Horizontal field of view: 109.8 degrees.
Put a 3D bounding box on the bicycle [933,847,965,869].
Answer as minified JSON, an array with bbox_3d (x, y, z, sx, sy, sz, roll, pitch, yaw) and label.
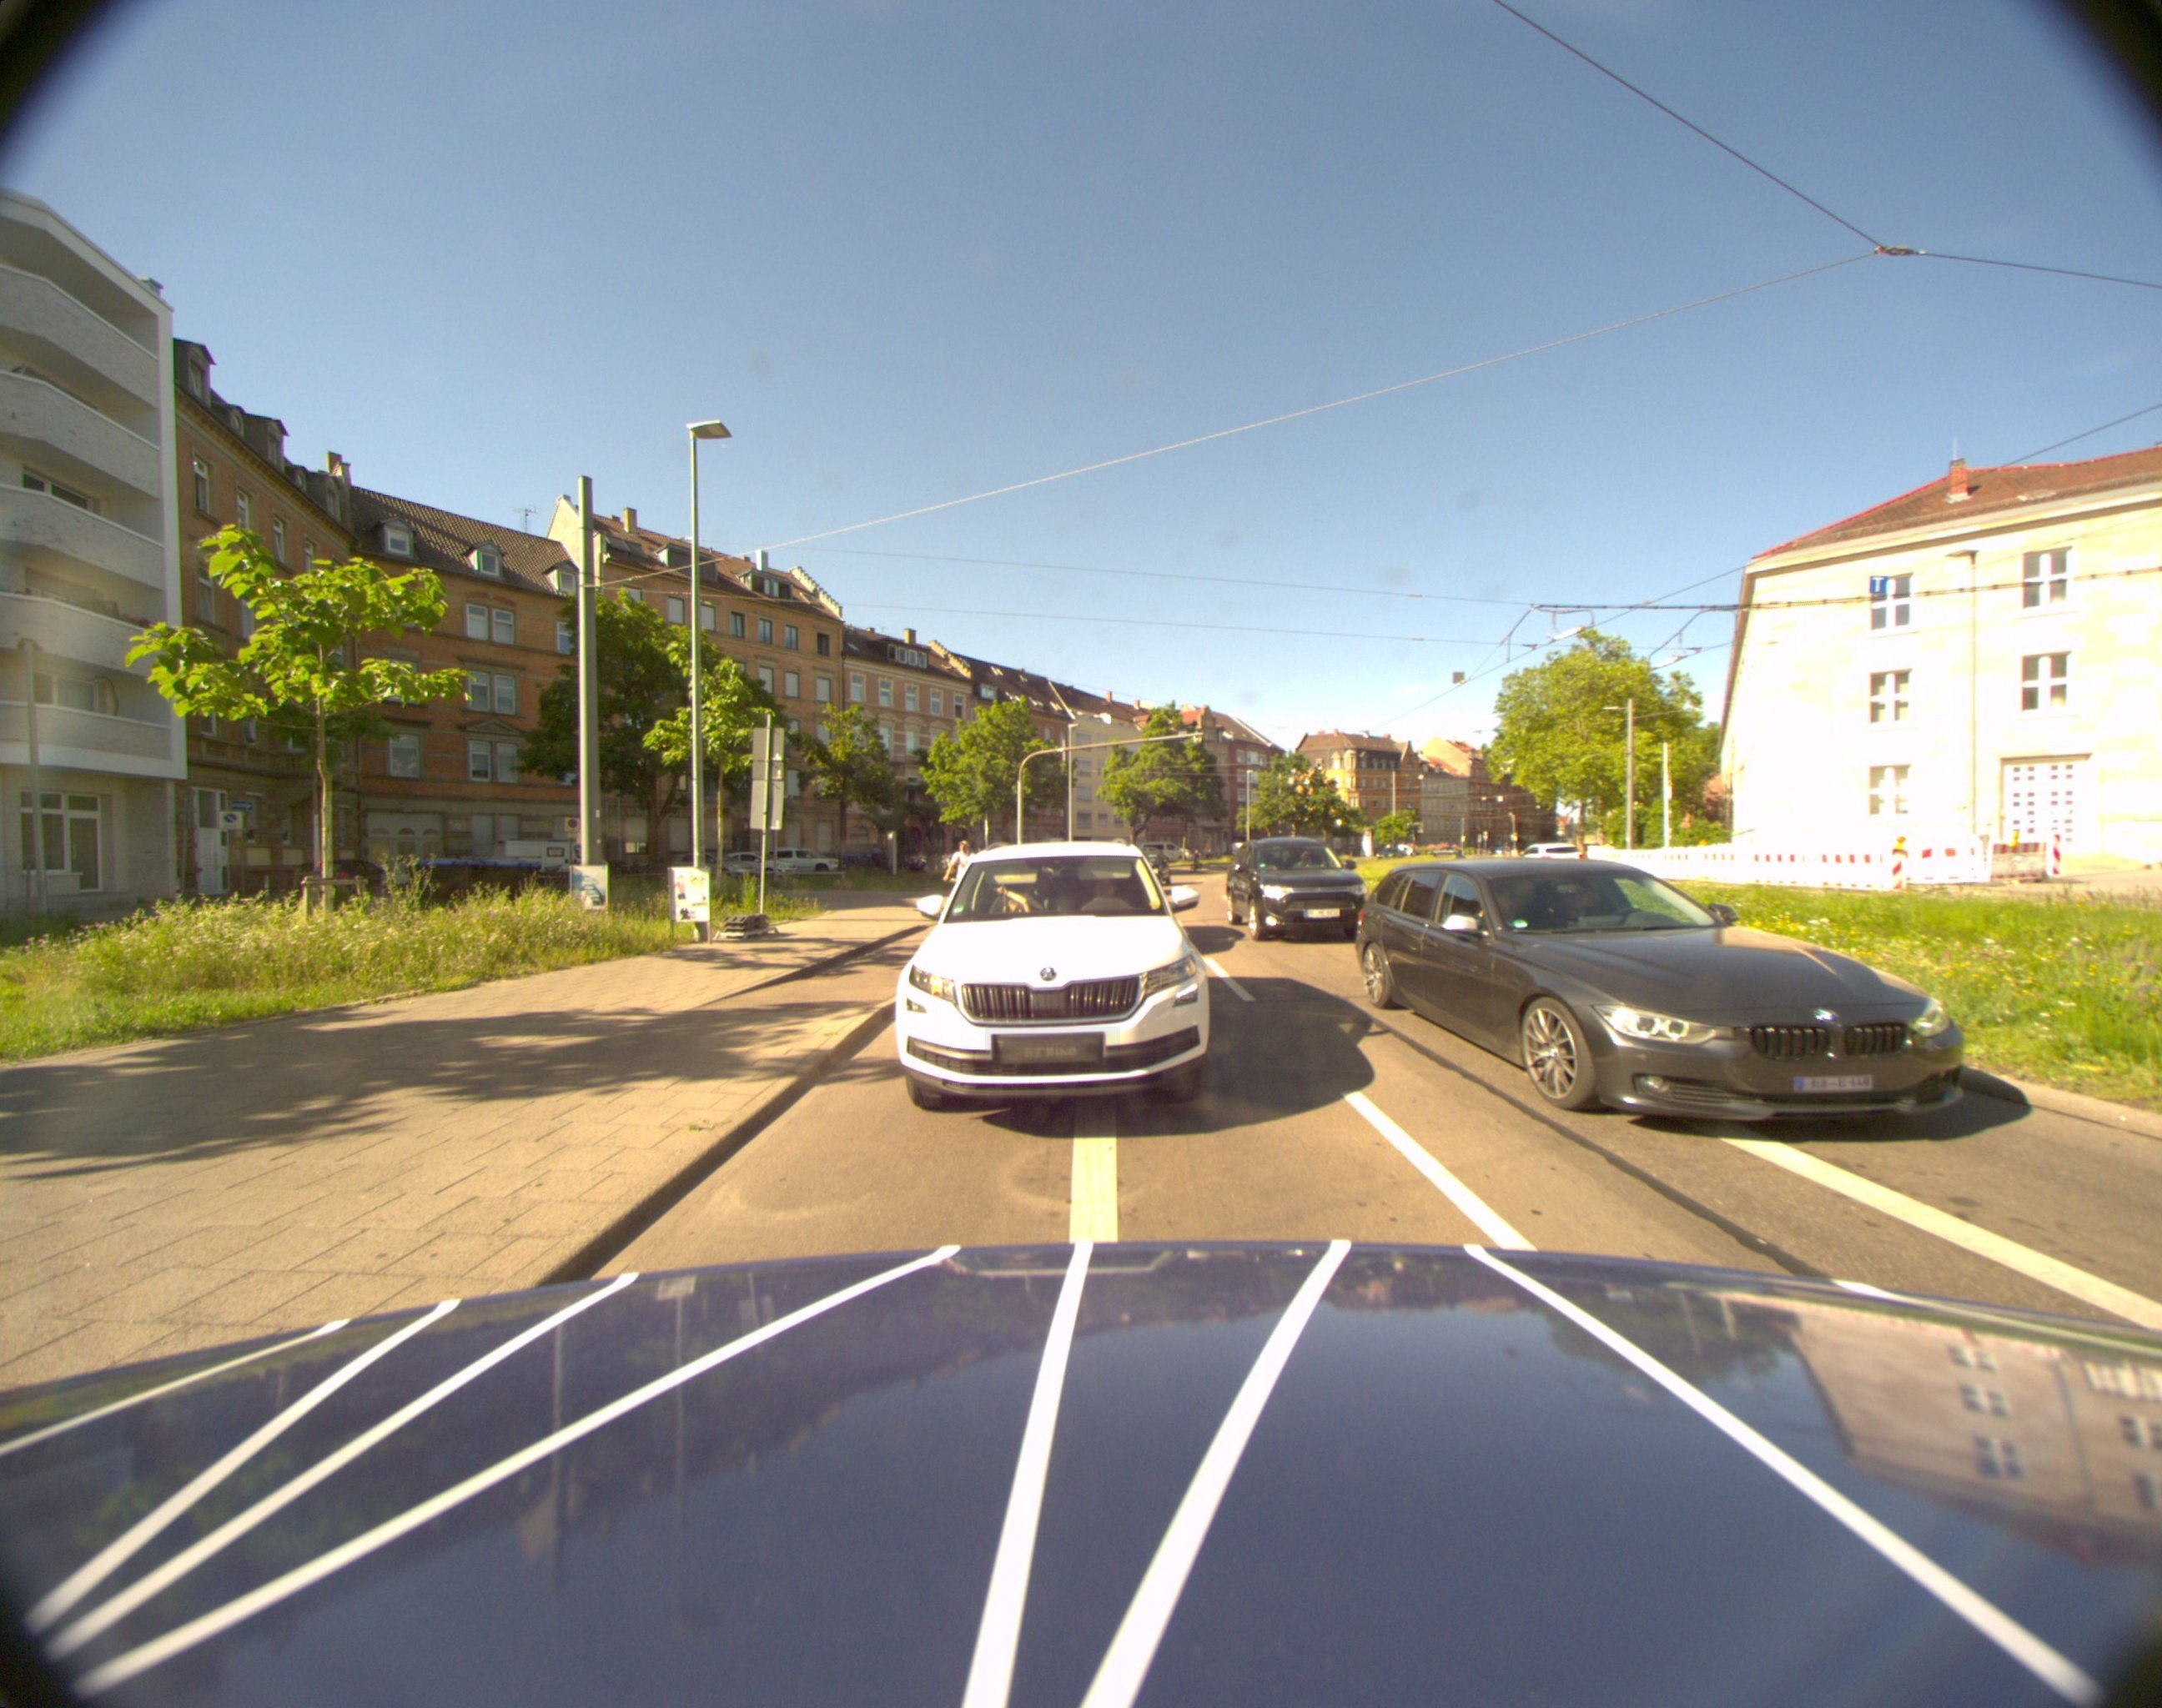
[{"bbox_3d":[-7.724,0.242,44.518,0.664,1.260,2.198,-3,1,-45],"label":"bicycle"}]

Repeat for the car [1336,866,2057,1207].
[{"bbox_3d":[3.482,0.850,5.594,1.741,1.359,4.426,-2,0,1],"label":"car"}]

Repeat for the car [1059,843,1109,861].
[{"bbox_3d":[0.265,-0.158,61.165,3.823,1.398,1.600,0,1,6],"label":"car"}]

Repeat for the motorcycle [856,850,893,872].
[{"bbox_3d":[-12.598,0.403,46.404,2.199,1.260,0.664,-2,1,24],"label":"motorcycle"}]

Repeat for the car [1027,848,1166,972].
[{"bbox_3d":[0.239,0.763,12.608,1.842,1.636,4.397,-2,0,1],"label":"car"}]

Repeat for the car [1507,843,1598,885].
[{"bbox_3d":[19.836,0.389,32.170,1.823,1.636,4.185,-1,0,10],"label":"car"}]

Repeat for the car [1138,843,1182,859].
[{"bbox_3d":[7.131,-0.247,68.179,3.823,1.372,1.600,0,1,9],"label":"car"}]

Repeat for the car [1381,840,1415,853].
[{"bbox_3d":[49.460,-1.220,118.510,4.578,1.864,2.004,-2,1,33],"label":"car"}]

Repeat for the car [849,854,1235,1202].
[{"bbox_3d":[-0.224,0.855,5.950,1.842,1.636,4.397,-2,0,-1],"label":"car"}]

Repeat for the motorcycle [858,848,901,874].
[{"bbox_3d":[-11.174,0.376,42.207,2.200,1.322,0.663,-2,1,13],"label":"motorcycle"}]

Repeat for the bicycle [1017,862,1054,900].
[{"bbox_3d":[-1.539,0.898,25.981,0.637,1.190,2.156,-1,1,13],"label":"bicycle"}]

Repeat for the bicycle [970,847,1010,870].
[{"bbox_3d":[-5.471,0.269,45.739,2.207,1.260,0.662,-3,1,-25],"label":"bicycle"}]

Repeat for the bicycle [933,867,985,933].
[{"bbox_3d":[-2.637,0.961,16.595,0.716,1.319,1.749,1,0,4],"label":"bicycle"}]

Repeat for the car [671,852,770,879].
[{"bbox_3d":[-17.495,0.536,36.907,4.156,1.244,1.683,0,1,13],"label":"car"}]

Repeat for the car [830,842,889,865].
[{"bbox_3d":[-15.606,-0.054,53.671,1.547,1.578,3.709,1,2,41],"label":"car"}]

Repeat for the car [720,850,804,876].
[{"bbox_3d":[-16.402,0.442,39.106,3.696,1.244,1.683,0,1,13],"label":"car"}]

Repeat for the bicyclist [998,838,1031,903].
[{"bbox_3d":[-1.939,0.469,22.356,0.809,1.855,0.749,-1,2,6],"label":"bicyclist"}]

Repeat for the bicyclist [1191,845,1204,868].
[{"bbox_3d":[8.479,0.186,55.253,0.734,1.685,0.973,0,1,22],"label":"bicyclist"}]

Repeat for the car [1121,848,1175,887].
[{"bbox_3d":[3.128,0.558,34.866,1.837,1.637,4.152,0,1,14],"label":"car"}]

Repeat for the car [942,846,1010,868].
[{"bbox_3d":[-7.038,0.177,51.295,4.322,1.398,1.682,0,1,3],"label":"car"}]

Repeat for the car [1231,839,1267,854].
[{"bbox_3d":[18.699,-0.820,84.659,3.823,1.581,1.600,0,1,6],"label":"car"}]

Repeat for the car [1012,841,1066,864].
[{"bbox_3d":[-3.103,-0.135,56.104,3.825,1.698,1.682,0,1,3],"label":"car"}]

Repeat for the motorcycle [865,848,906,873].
[{"bbox_3d":[-11.144,0.359,43.294,2.200,1.315,0.664,-2,1,18],"label":"motorcycle"}]

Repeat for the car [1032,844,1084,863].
[{"bbox_3d":[-1.771,-0.052,58.712,3.823,1.398,1.600,0,1,6],"label":"car"}]

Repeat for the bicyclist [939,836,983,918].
[{"bbox_3d":[-2.621,0.485,16.651,0.716,1.715,1.094,1,1,3],"label":"bicyclist"}]

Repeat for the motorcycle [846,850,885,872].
[{"bbox_3d":[-12.936,0.417,45.625,2.314,1.276,0.664,-2,1,24],"label":"motorcycle"}]

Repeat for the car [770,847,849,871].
[{"bbox_3d":[-14.676,0.258,41.195,3.700,1.244,1.540,0,1,2],"label":"car"}]

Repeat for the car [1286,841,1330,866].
[{"bbox_3d":[19.826,-0.118,66.101,1.977,2.074,4.723,1,2,40],"label":"car"}]

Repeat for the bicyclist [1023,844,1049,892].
[{"bbox_3d":[-1.530,0.461,26.030,0.630,1.619,0.972,-1,1,13],"label":"bicyclist"}]

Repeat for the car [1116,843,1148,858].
[{"bbox_3d":[5.473,-0.421,80.728,1.547,1.578,3.607,1,2,41],"label":"car"}]

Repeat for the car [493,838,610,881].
[{"bbox_3d":[-27.113,0.219,39.010,2.047,2.026,4.510,1,2,41],"label":"car"}]

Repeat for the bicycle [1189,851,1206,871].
[{"bbox_3d":[8.499,0.504,55.352,0.735,1.353,2.078,0,1,21],"label":"bicycle"}]

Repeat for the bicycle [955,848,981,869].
[{"bbox_3d":[-7.118,0.310,47.754,0.664,1.260,2.199,-3,1,-36],"label":"bicycle"}]

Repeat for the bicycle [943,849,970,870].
[{"bbox_3d":[-7.681,0.343,46.760,0.664,1.260,2.199,-3,1,-36],"label":"bicycle"}]

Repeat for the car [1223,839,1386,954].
[{"bbox_3d":[3.701,0.627,13.398,1.841,1.636,4.399,-2,0,5],"label":"car"}]

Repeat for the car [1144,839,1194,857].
[{"bbox_3d":[8.202,-0.587,70.609,4.578,1.658,1.600,0,1,7],"label":"car"}]

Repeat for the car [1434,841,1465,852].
[{"bbox_3d":[56.473,-1.221,116.409,4.058,1.647,1.770,1,2,34],"label":"car"}]

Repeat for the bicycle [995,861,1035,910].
[{"bbox_3d":[-1.934,0.900,22.455,0.758,1.293,2.155,-1,1,6],"label":"bicycle"}]

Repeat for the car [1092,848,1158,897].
[{"bbox_3d":[1.648,0.600,26.957,1.838,1.543,4.151,0,1,10],"label":"car"}]

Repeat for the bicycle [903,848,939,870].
[{"bbox_3d":[-9.702,0.297,46.009,2.198,1.260,0.664,-2,1,32],"label":"bicycle"}]

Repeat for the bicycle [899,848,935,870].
[{"bbox_3d":[-9.738,0.308,45.070,2.198,1.260,0.664,-2,1,30],"label":"bicycle"}]

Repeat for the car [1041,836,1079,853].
[{"bbox_3d":[-1.935,-0.940,71.665,1.547,1.578,3.607,1,2,41],"label":"car"}]

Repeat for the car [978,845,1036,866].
[{"bbox_3d":[-5.222,0.089,53.965,3.822,1.398,1.683,0,1,9],"label":"car"}]

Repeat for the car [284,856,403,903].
[{"bbox_3d":[-26.164,0.831,27.148,1.835,1.419,4.378,-1,1,-27],"label":"car"}]

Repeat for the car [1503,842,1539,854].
[{"bbox_3d":[61.083,-0.843,105.546,4.058,1.647,1.770,1,2,43],"label":"car"}]

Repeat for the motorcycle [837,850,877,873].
[{"bbox_3d":[-13.285,0.440,45.019,2.314,1.270,0.664,-2,1,24],"label":"motorcycle"}]

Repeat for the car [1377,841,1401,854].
[{"bbox_3d":[34.601,-0.758,85.274,1.836,1.464,4.722,1,1,31],"label":"car"}]

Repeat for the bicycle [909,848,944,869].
[{"bbox_3d":[-9.505,0.281,46.712,2.198,1.260,0.664,-2,1,32],"label":"bicycle"}]
